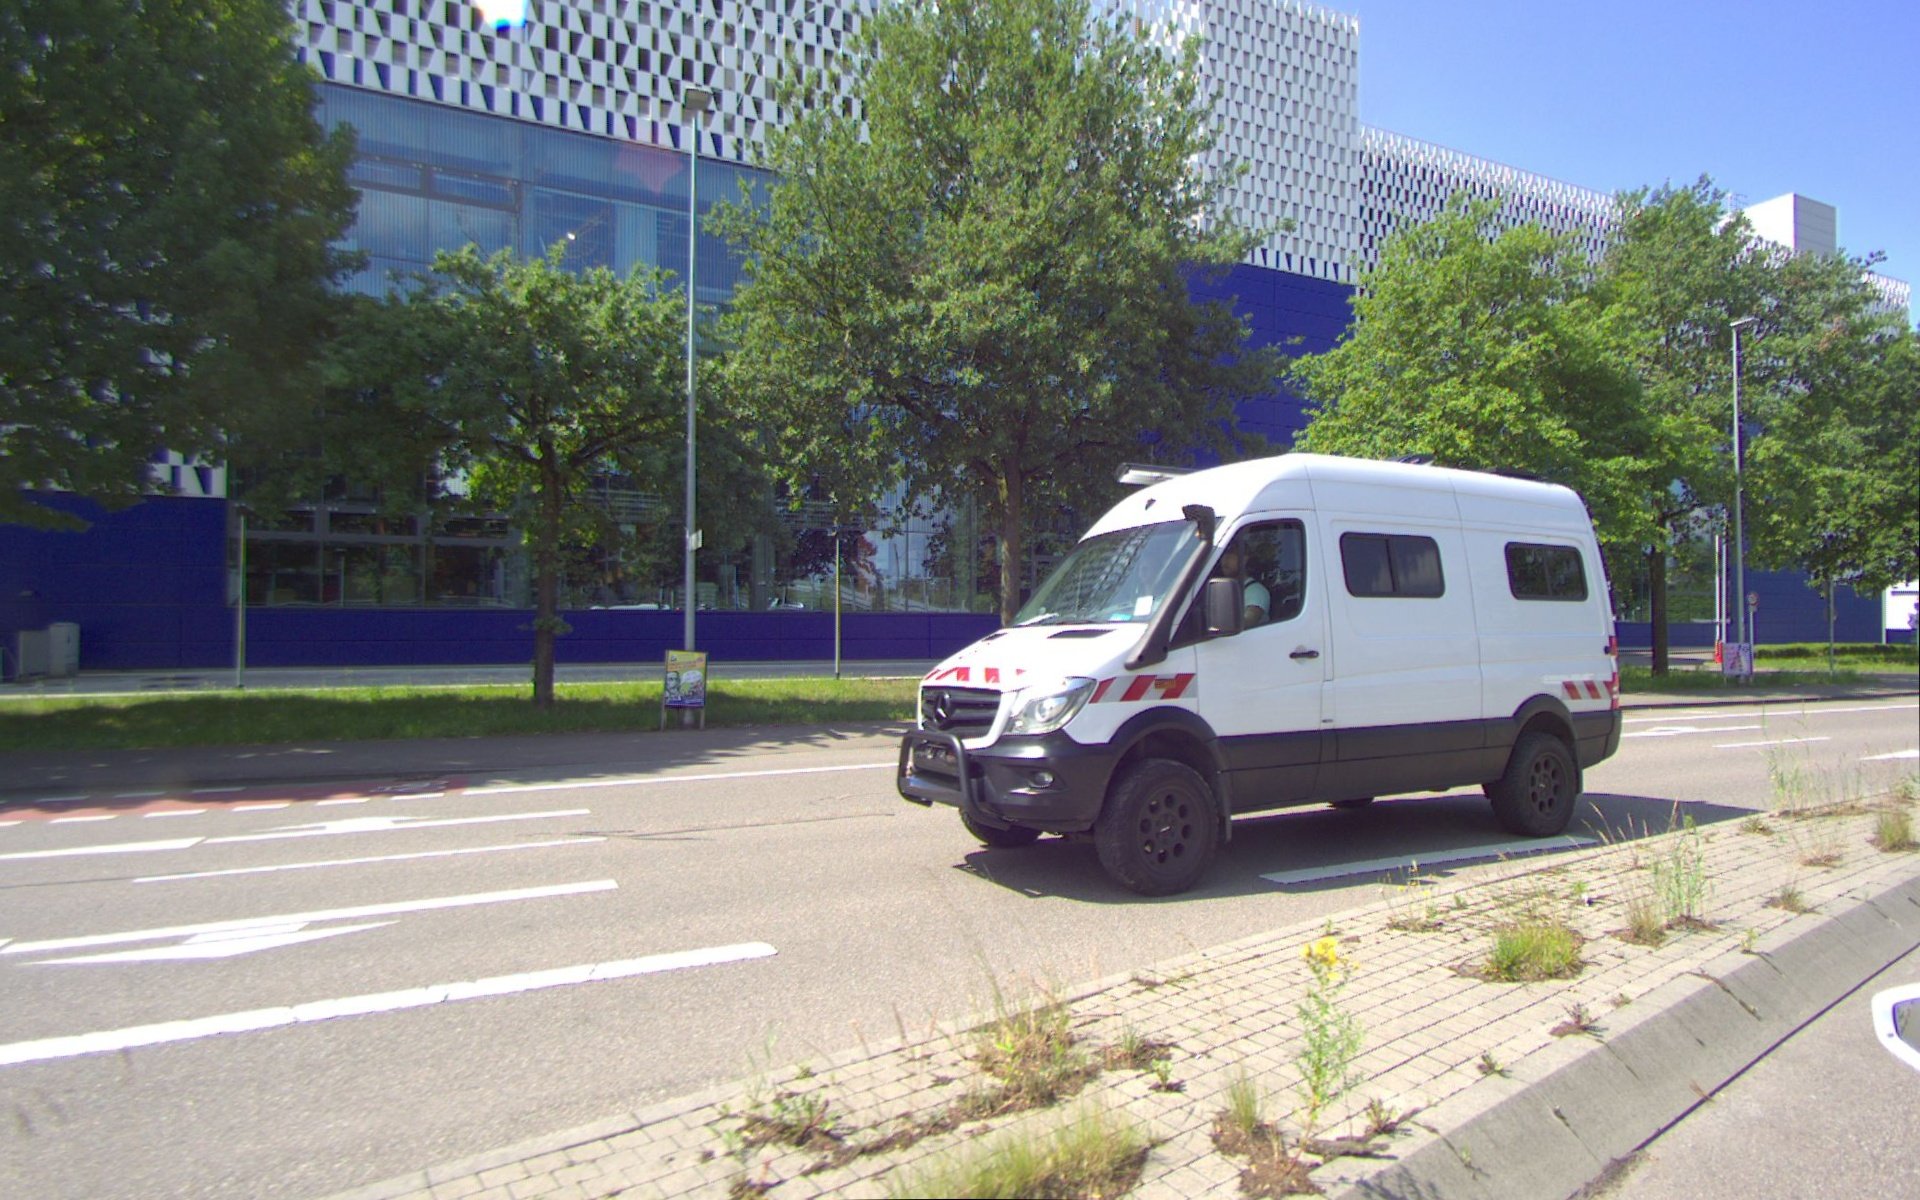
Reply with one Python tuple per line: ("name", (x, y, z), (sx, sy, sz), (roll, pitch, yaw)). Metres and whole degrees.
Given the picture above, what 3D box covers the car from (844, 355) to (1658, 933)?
("car", (2.437, 0.287, 7.530), (6.304, 2.931, 2.014), (1, -2, -29))
